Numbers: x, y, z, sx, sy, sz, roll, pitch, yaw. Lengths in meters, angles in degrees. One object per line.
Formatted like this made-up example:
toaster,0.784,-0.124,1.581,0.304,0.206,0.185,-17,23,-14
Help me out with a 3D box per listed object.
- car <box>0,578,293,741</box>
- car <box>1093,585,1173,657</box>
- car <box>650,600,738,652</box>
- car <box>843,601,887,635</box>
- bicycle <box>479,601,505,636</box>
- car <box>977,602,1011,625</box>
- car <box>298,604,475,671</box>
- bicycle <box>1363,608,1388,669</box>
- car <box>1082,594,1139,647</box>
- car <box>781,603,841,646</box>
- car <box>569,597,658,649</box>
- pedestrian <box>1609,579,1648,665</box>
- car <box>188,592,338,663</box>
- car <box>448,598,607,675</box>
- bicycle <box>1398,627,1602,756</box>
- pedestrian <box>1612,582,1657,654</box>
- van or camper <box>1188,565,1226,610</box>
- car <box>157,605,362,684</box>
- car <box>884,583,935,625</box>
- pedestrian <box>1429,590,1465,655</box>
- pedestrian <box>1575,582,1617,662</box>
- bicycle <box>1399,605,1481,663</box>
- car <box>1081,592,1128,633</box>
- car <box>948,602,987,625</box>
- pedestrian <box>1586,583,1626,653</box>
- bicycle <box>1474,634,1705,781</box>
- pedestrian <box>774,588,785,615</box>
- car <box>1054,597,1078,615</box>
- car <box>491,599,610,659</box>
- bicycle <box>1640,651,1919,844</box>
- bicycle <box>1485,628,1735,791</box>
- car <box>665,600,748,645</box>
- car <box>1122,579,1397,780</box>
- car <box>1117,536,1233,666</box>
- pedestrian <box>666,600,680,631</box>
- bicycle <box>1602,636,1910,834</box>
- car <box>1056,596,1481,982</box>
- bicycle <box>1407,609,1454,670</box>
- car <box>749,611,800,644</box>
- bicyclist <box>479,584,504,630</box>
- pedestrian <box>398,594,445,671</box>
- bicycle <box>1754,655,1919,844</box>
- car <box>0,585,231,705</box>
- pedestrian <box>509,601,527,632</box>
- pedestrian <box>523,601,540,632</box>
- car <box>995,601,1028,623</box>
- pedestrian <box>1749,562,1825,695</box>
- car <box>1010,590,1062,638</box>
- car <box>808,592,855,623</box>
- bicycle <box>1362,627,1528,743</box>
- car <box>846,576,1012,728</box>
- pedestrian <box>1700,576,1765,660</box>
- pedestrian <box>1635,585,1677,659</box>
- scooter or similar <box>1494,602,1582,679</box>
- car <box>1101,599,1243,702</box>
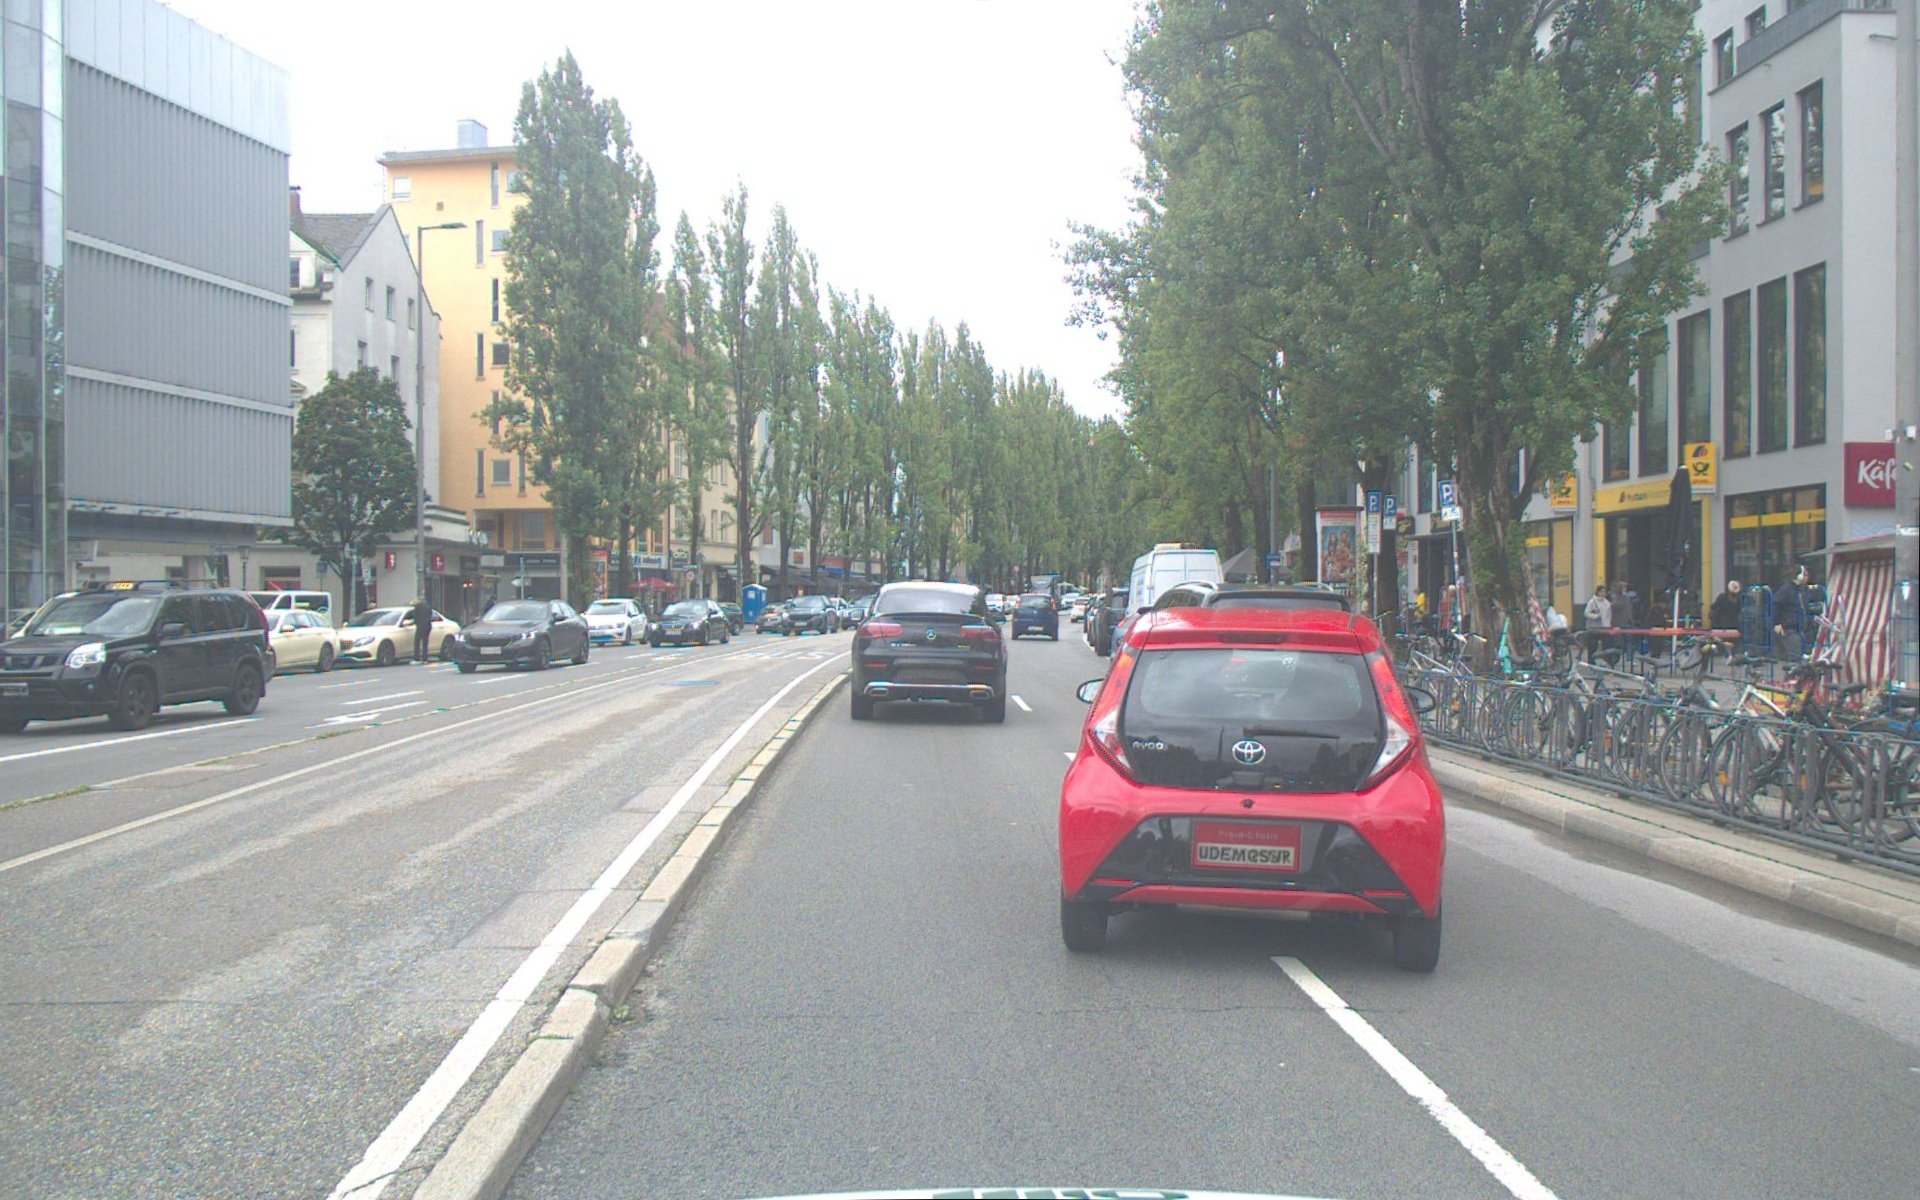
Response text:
car,-10.429,0.657,20.742,1.951,1.808,4.602,-1,0,4
car,4.663,0.538,45.018,1.889,1.836,4.781,1,0,3
car,-8.440,0.793,52.799,1.797,1.513,4.736,-1,0,3
car,-4.764,0.870,83.572,1.780,1.572,4.001,-3,0,2
bicycle,-16.335,0.644,57.771,0.360,1.222,1.155,-1,0,12
car,2.544,0.978,122.539,1.869,1.631,4.359,-1,0,10
car,-14.631,0.907,42.516,1.817,1.495,4.986,-3,0,14
bicycle,8.361,0.760,33.237,0.467,1.180,1.826,0,0,15
car,5.120,0.670,56.726,1.691,1.716,4.409,0,0,2
car,-6.194,0.986,69.106,1.952,1.649,4.414,-2,0,2
car,-11.580,0.735,55.534,1.952,1.628,4.290,-1,0,1
pedestrian,13.672,0.440,33.845,0.567,1.731,0.597,-1,0,6
car,-21.385,0.786,51.012,1.951,2.049,5.116,-1,0,7
car,-9.490,0.747,36.751,1.952,1.534,5.024,-1,0,3
bicycle,5.243,0.862,16.131,1.767,1.072,0.544,4,2,37
pedestrian,15.307,0.403,37.541,0.677,1.612,0.772,-1,0,-2
van or camper,17.789,-0.883,118.873,2.407,3.166,4.719,-1,0,12
car,-15.611,0.944,37.209,1.935,1.579,5.090,-1,0,7
car,-3.239,0.218,108.348,2.123,2.651,6.069,-1,0,10
pedestrian,13.293,0.603,45.152,0.707,1.754,0.737,-1,0,36
pedestrian,12.972,0.446,33.735,0.628,1.611,0.635,-1,0,6
bicycle,10.072,0.708,34.737,1.593,1.180,0.705,0,0,12
car,6.442,0.559,73.224,1.884,1.730,4.653,1,-1,7
car,0.526,0.884,110.868,1.761,1.419,4.695,-1,0,11
pedestrian,15.765,0.436,40.362,0.676,1.678,0.798,-1,0,3
bicycle,5.351,0.889,14.137,1.767,1.072,0.366,4,2,37
pedestrian,-12.725,0.122,116.706,0.624,1.894,0.648,-1,0,11
car,10.739,0.568,167.128,1.820,1.741,4.540,-2,0,11
car,-11.735,0.796,47.797,1.918,1.573,4.950,-1,0,3
bicycle,5.353,0.912,10.600,1.770,1.028,0.384,4,2,41
bicycle,5.268,0.854,13.468,1.767,1.124,0.544,4,2,37
car,-11.015,0.981,72.046,1.721,1.847,3.999,1,-1,23
car,2.667,0.651,15.661,1.725,1.642,4.182,0,0,-2
car,4.911,0.045,38.560,1.953,2.789,5.554,1,-1,0
pedestrian,-16.549,0.863,95.339,0.527,1.777,0.756,0,0,11
bicycle,5.388,0.876,11.256,1.767,1.124,0.544,4,2,37
car,1.365,0.753,8.295,1.630,1.471,3.598,1,-1,5
bicycle,9.452,0.780,33.267,0.468,1.180,1.633,0,0,-1
car,-8.909,1.295,79.739,1.746,1.491,4.002,-1,0,4
bicyclist,-16.373,0.239,57.784,0.491,1.620,0.835,-1,0,11
pedestrian,-13.639,0.815,41.888,0.770,1.900,0.846,-1,0,24
bicycle,5.724,0.911,9.778,1.767,1.028,0.384,4,2,37
car,-16.035,0.783,31.352,1.952,2.049,5.322,-1,0,1
pedestrian,-20.987,0.780,78.539,0.620,1.460,0.778,-1,0,-2
pedestrian,-20.384,0.790,78.639,0.620,1.460,0.778,-1,0,-2
car,4.086,0.913,130.908,1.951,1.616,5.200,-2,0,8
pedestrian,11.582,0.393,23.174,0.776,1.827,0.572,1,-1,4
car,2.734,0.500,58.753,1.722,1.648,3.748,1,-1,4
car,-6.928,0.394,89.526,1.912,1.617,4.002,-1,0,5
bicycle,5.111,0.872,17.480,1.545,1.072,0.544,4,2,37
car,-0.376,0.573,20.797,1.842,1.670,4.582,-1,0,-1
pedestrian,15.561,0.358,33.336,0.783,1.665,1.023,-1,0,-2
pedestrian,14.464,0.458,34.375,0.636,1.502,0.757,0,-1,36
scooter or similar,9.582,0.666,27.430,1.443,1.228,0.398,-1,0,-20
car,3.398,0.761,26.064,1.512,1.486,3.435,1,-1,20
